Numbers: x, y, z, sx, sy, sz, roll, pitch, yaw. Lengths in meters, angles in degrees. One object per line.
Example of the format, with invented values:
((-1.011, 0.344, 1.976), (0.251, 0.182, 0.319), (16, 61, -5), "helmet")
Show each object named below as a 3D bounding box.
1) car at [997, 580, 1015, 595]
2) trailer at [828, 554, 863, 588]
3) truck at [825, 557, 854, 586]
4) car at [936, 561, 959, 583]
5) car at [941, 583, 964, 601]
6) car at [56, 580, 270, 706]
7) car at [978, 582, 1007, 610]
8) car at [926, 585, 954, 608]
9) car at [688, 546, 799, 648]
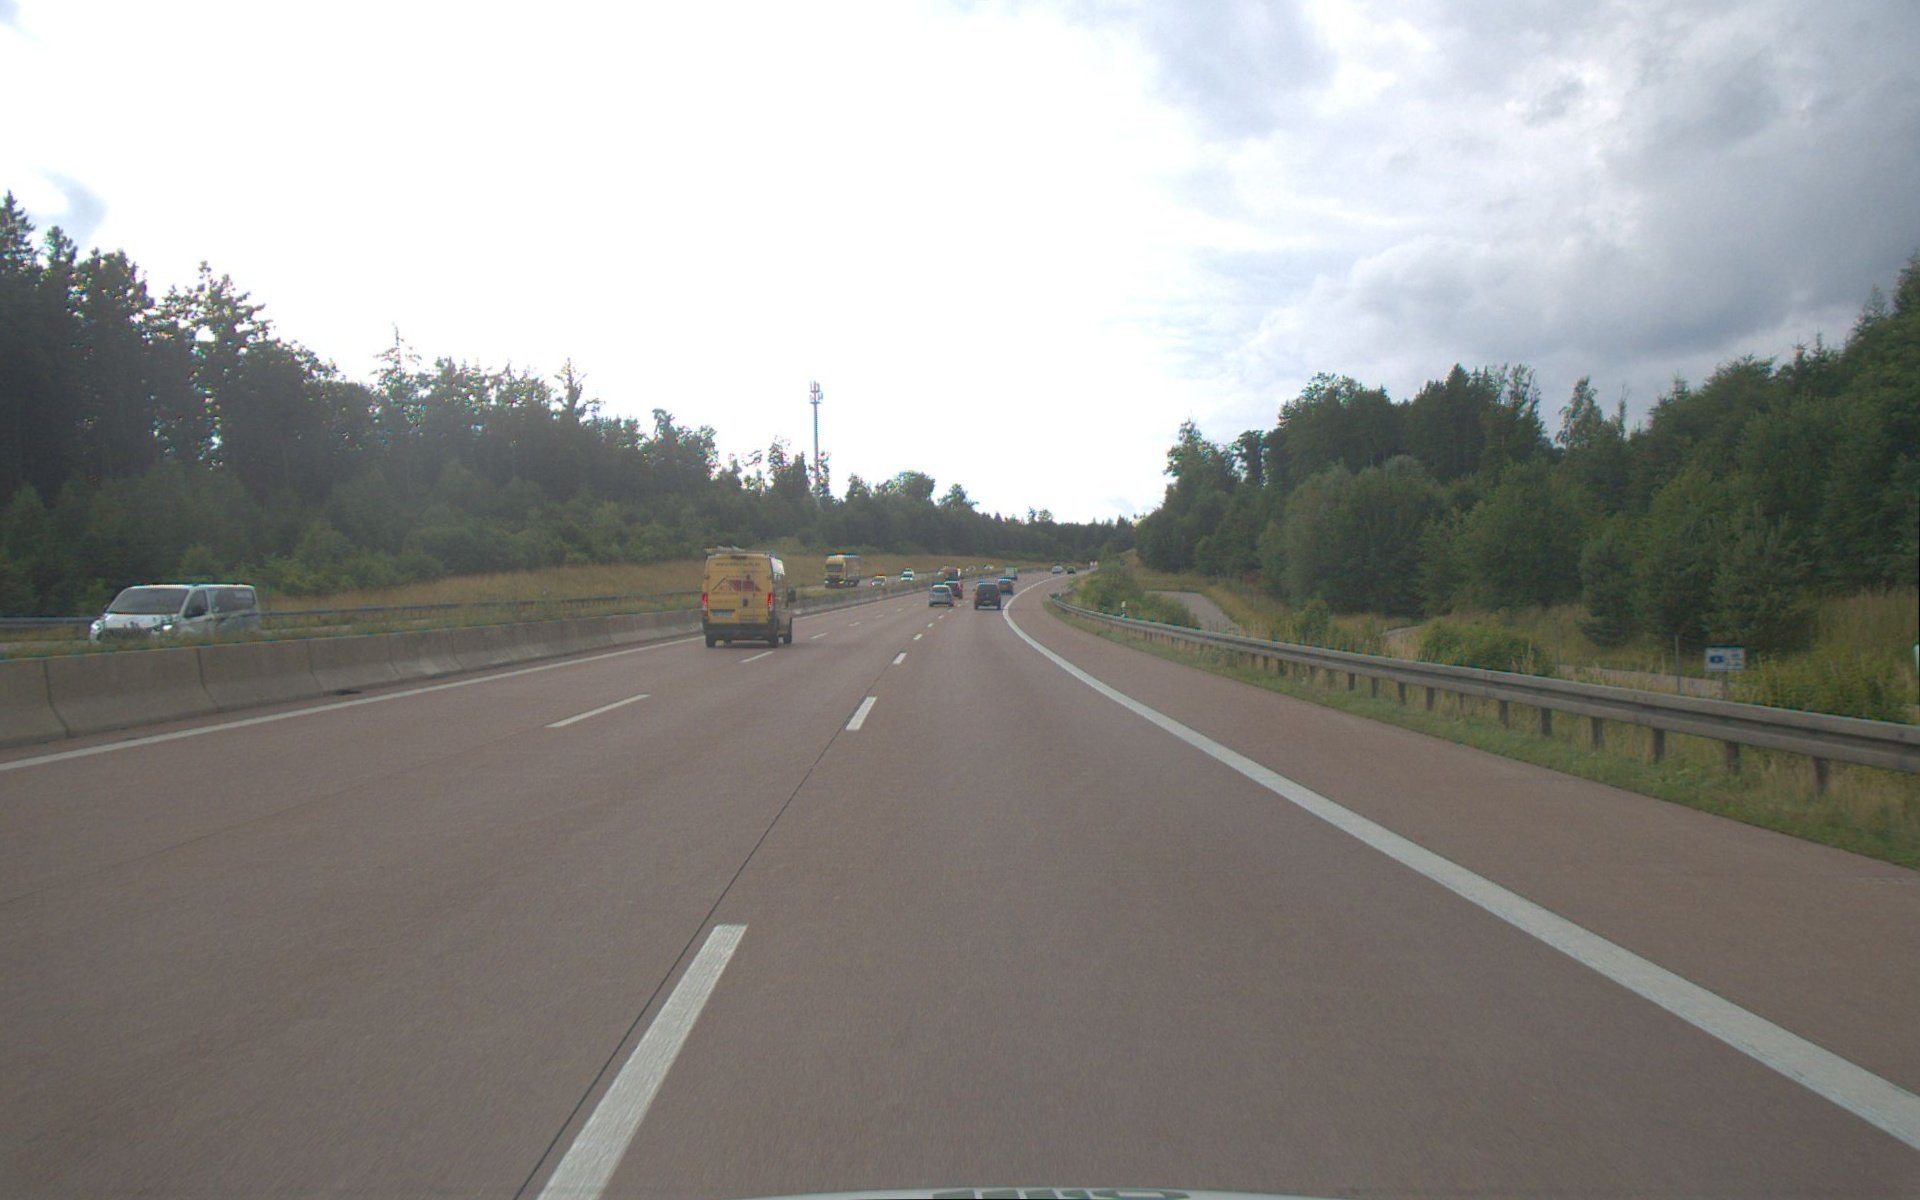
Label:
((5.114, -1.352, 183.053), (1.936, 1.677, 4.620), (0, 0, 2), "car")
((-15.230, -3.835, 221.312), (2.970, 4.112, 14.536), (1, 0, 3), "trailer")
((-15.587, -3.658, 214.496), (2.949, 3.645, 6.059), (1, 0, 3), "truck")
((-1.534, -3.375, 200.556), (2.194, 2.472, 6.208), (2, 1, 4), "car")
((-0.677, -0.715, 157.221), (1.936, 1.677, 4.620), (0, 0, 2), "car")
((-18.320, 0.938, 38.435), (1.992, 2.655, 6.353), (1, 0, -2), "car")
((2.283, -0.282, 117.185), (2.002, 1.930, 5.578), (0, 0, 1), "car")
((-1.498, -0.254, 124.647), (1.937, 1.677, 4.620), (0, 0, 1), "car")
((-6.129, -0.089, 47.490), (2.408, 2.753, 5.613), (0, 0, 0), "car")
